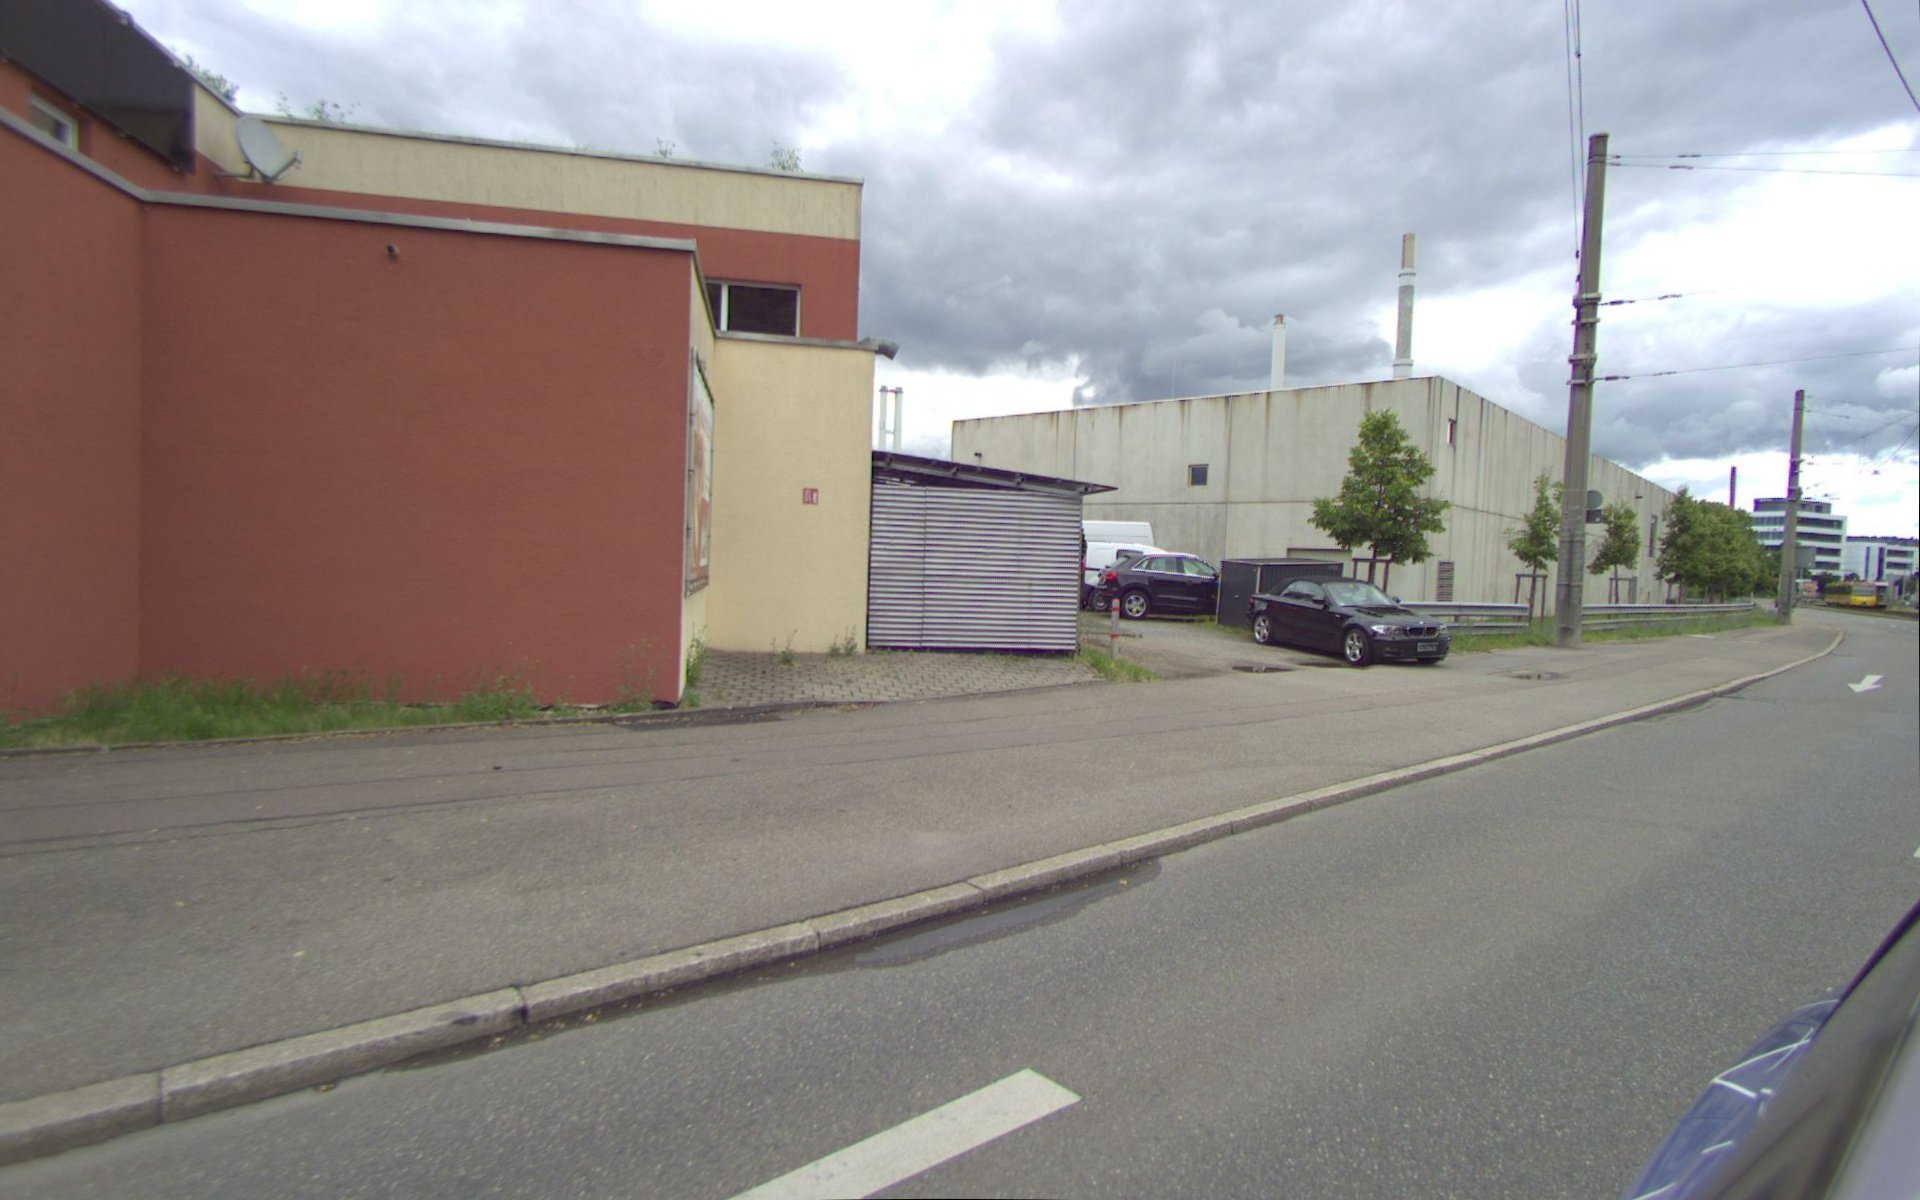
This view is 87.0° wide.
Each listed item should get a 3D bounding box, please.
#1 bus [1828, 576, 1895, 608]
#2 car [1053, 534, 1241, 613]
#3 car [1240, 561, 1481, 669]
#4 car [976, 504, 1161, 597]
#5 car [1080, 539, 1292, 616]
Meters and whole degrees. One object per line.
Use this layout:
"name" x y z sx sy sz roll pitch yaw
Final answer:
"bus" 122.105 -1.159 137.296 3.522 4.001 10.413 1 3 24
"car" 4.930 -0.714 26.909 4.446 1.854 1.865 2 2 -12
"car" 7.055 0.176 18.386 1.726 1.459 4.247 1 5 -17
"car" 3.365 -1.544 31.912 5.311 2.621 2.101 2 2 -10
"car" 5.267 -0.583 24.115 4.433 1.566 2.164 2 4 -2
